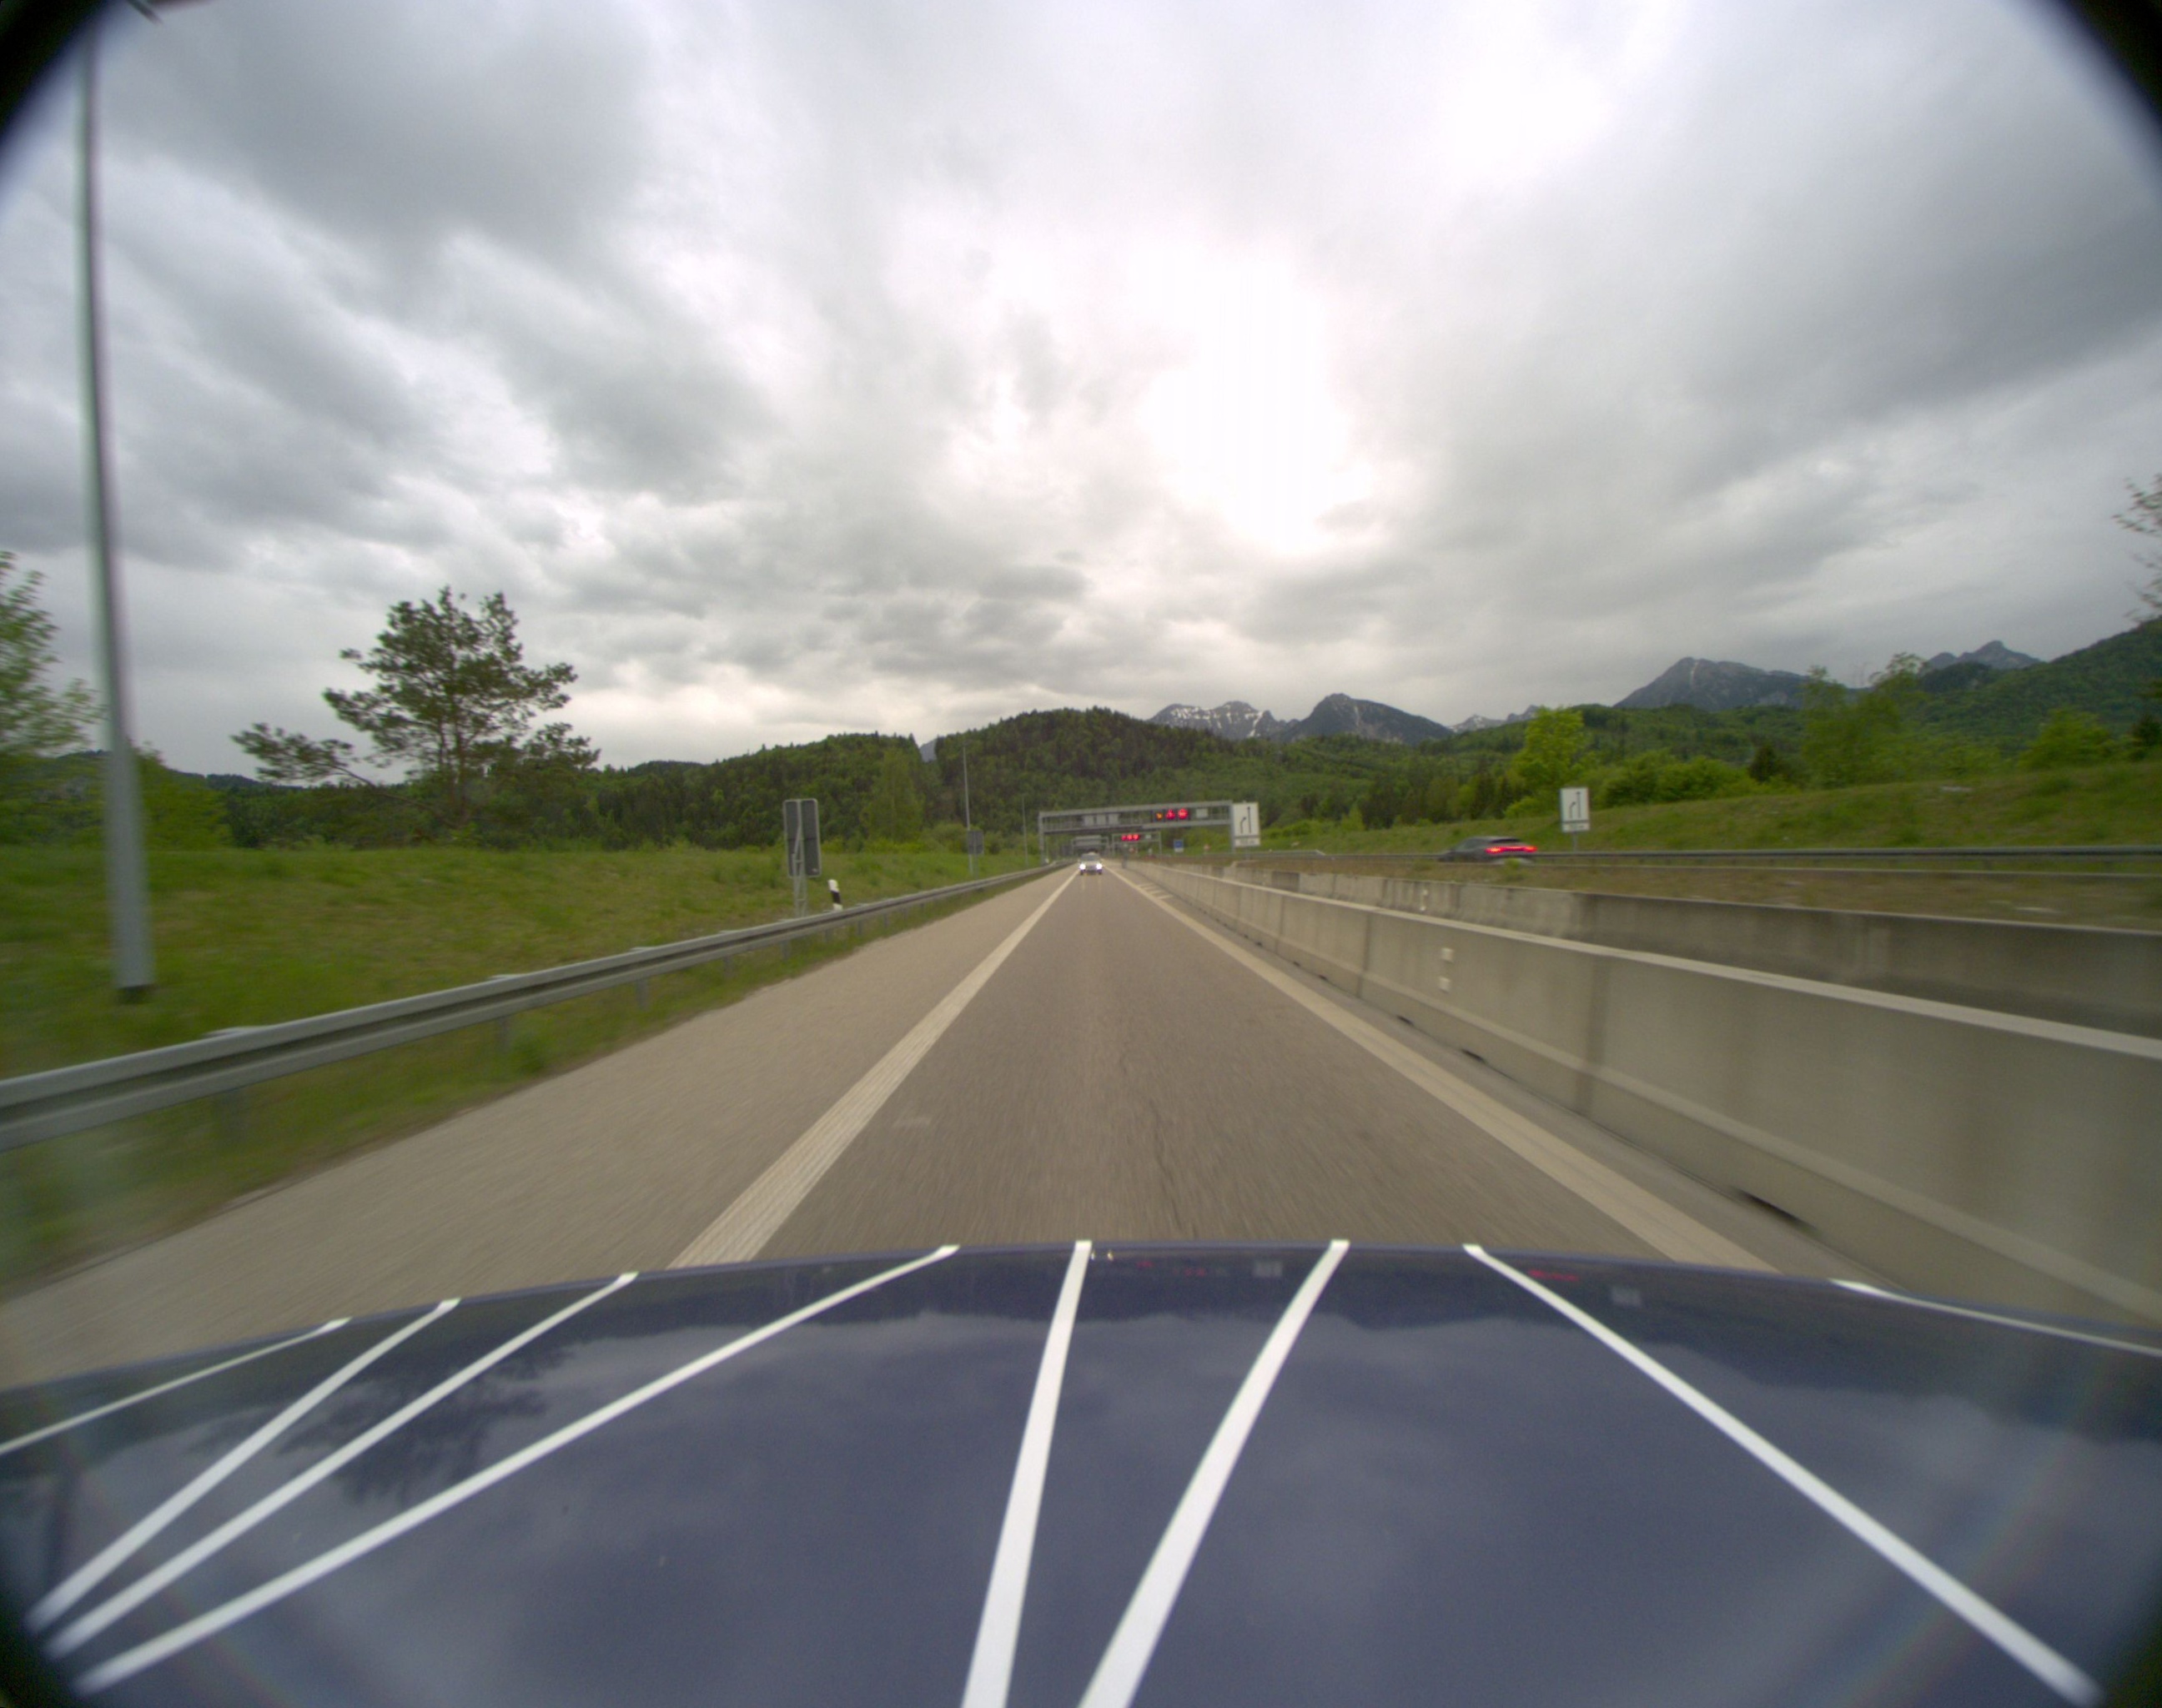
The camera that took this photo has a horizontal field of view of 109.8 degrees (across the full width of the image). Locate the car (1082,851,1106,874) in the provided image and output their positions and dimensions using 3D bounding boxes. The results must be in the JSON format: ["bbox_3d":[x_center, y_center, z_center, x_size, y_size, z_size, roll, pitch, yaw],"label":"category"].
[{"bbox_3d":[1.174,0.692,66.667,1.922,1.871,5.138,-1,1,2],"label":"car"}]

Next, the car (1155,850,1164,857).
[{"bbox_3d":[18.818,-0.149,182.718,1.772,1.598,4.405,-3,0,1],"label":"car"}]

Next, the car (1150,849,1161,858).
[{"bbox_3d":[15.940,-0.048,163.113,1.883,1.726,5.751,-3,0,1],"label":"car"}]

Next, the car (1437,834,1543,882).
[{"bbox_3d":[15.085,0.130,28.268,1.706,1.565,4.177,-3,0,1],"label":"car"}]
